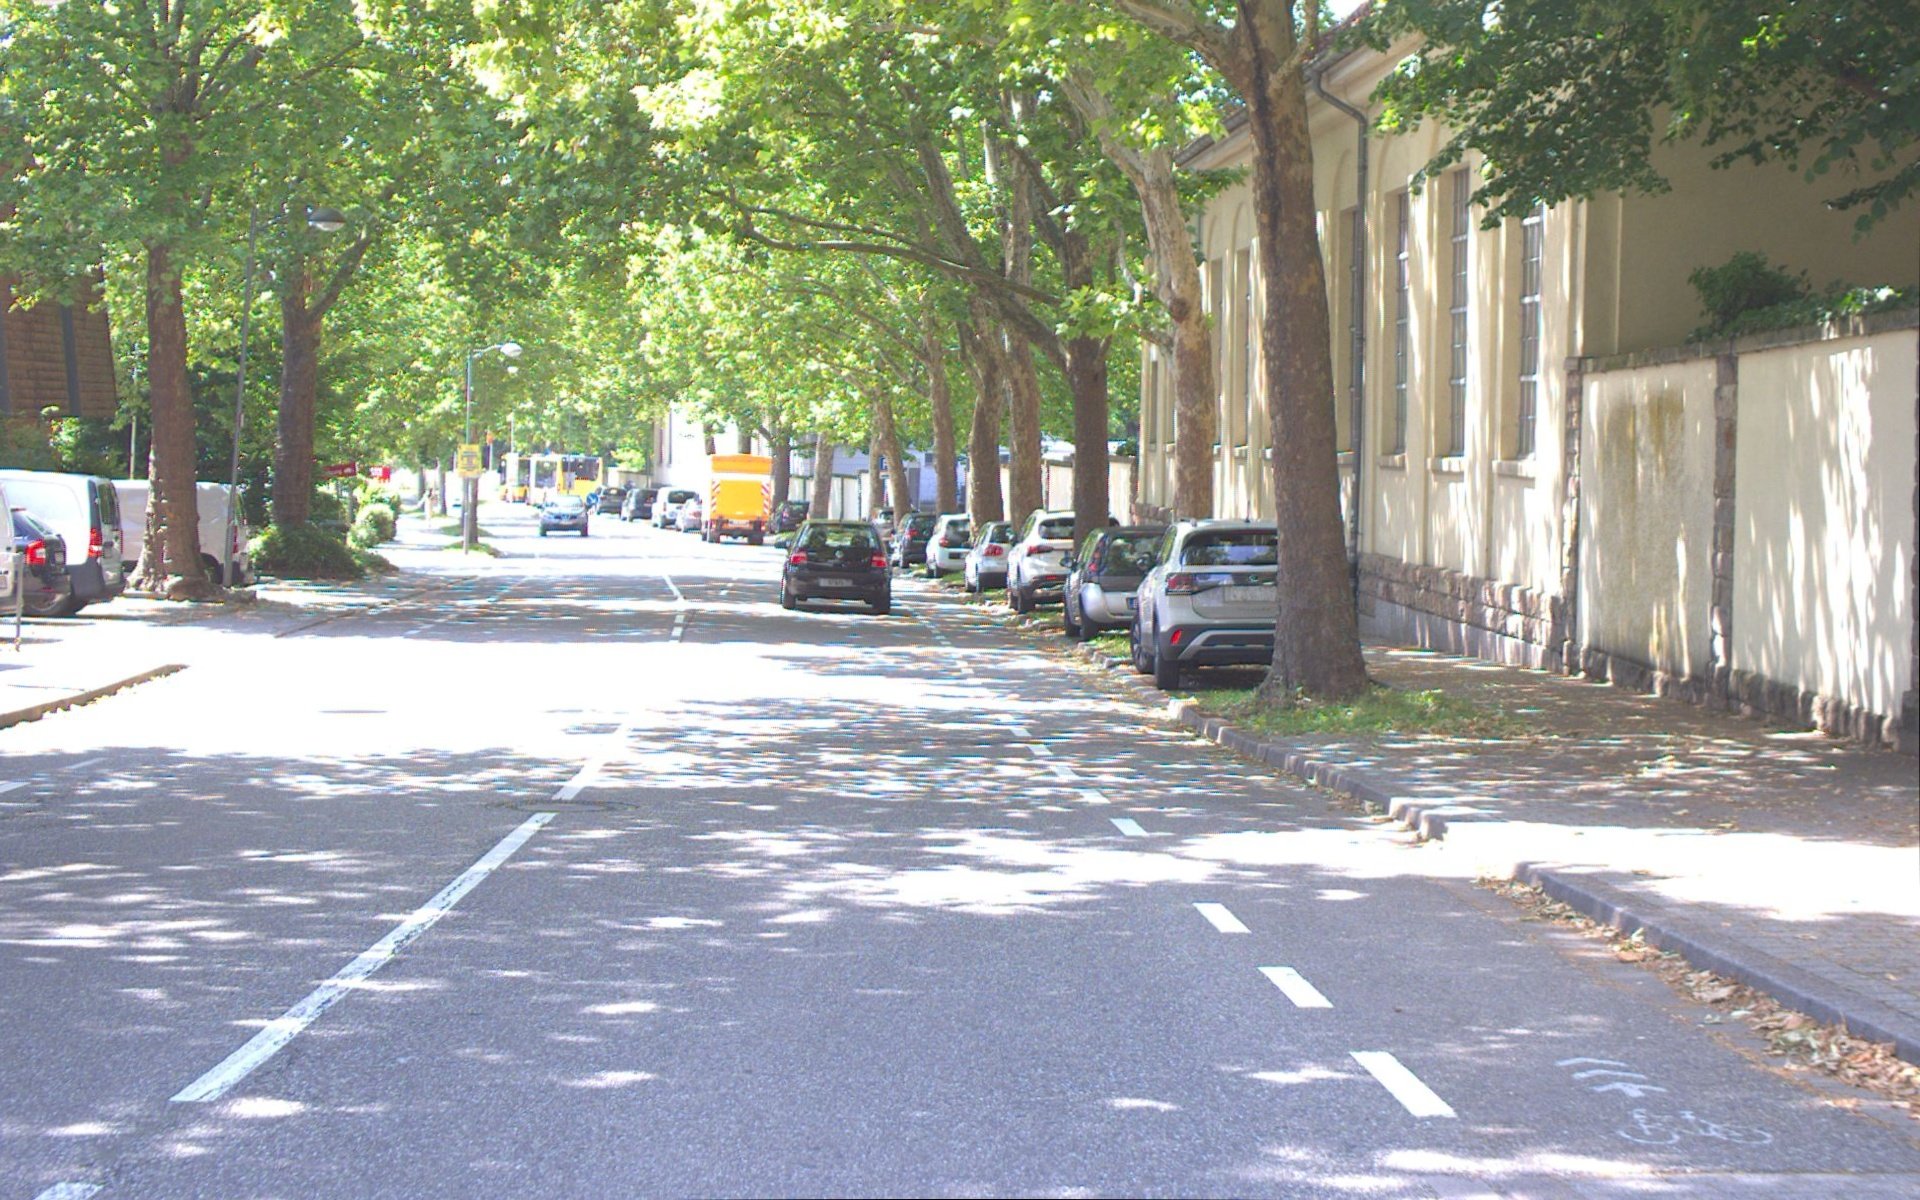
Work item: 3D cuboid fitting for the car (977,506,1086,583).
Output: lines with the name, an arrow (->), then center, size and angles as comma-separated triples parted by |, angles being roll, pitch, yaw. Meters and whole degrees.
car -> 1.364, -1.110, 67.095 | 1.766, 1.428, 3.876 | -1, 2, -4

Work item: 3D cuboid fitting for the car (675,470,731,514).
car -> -10.509, -4.399, 140.285 | 1.879, 1.680, 4.001 | 1, 0, -10

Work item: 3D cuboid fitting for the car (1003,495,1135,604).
car -> 1.744, -0.860, 56.447 | 1.807, 1.683, 4.752 | -1, 2, -3

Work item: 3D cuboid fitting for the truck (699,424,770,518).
truck -> -8.071, -4.561, 122.525 | 2.370, 3.123, 5.770 | 1, 0, -5

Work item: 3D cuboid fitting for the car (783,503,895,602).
car -> -1.971, -0.789, 55.167 | 1.711, 1.442, 4.059 | 0, 3, -3

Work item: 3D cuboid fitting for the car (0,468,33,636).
car -> -12.230, -0.604, 37.083 | 3.986, 1.786, 1.869 | 2, 1, -5

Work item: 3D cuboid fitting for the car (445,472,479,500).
car -> -26.441, -6.020, 182.422 | 1.710, 1.442, 4.059 | 0, 1, -10

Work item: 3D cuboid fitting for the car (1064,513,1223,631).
car -> 2.335, -0.401, 44.731 | 1.621, 1.434, 4.433 | -1, 2, -3

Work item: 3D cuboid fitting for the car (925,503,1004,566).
car -> 0.088, -1.573, 81.550 | 1.577, 1.461, 3.876 | -1, 2, -4

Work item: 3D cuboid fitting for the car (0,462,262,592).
car -> -12.843, -1.122, 52.288 | 4.127, 1.798, 1.904 | 2, 1, -5

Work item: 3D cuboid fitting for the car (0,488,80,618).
car -> -12.881, -0.648, 41.680 | 3.986, 1.510, 1.869 | 2, 1, -5

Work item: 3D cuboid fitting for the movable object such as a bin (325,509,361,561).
movable object such as a bin -> -12.659, -1.335, 70.560 | 0.623, 1.045, 0.620 | 1, 2, 1

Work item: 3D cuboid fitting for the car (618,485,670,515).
car -> -14.792, -4.662, 160.828 | 1.766, 1.369, 3.731 | -1, 2, -15

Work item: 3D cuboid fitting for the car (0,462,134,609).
car -> -13.018, -0.899, 44.106 | 4.422, 1.798, 1.904 | 2, 1, -5

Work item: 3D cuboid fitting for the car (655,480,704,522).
car -> -12.063, -4.249, 147.765 | 1.879, 1.680, 4.001 | 1, 0, -7

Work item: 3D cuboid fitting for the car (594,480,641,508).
car -> -17.098, -5.282, 171.608 | 1.766, 1.369, 3.731 | -1, 2, -15

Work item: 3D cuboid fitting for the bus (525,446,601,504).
bus -> -22.633, -7.053, 195.439 | 2.663, 3.139, 11.201 | 0, 1, -15

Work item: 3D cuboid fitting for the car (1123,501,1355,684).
car -> 2.614, -0.135, 33.154 | 1.741, 1.552, 4.781 | -1, 2, -1

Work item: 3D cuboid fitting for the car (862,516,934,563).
car -> -1.900, -1.841, 103.899 | 1.766, 1.369, 3.731 | -1, 2, -7

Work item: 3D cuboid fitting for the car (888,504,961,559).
car -> -0.990, -1.896, 94.223 | 1.766, 1.461, 3.876 | -1, 2, -4

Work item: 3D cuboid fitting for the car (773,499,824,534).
car -> -6.557, -3.388, 139.182 | 1.766, 1.369, 3.731 | 1, 1, -7

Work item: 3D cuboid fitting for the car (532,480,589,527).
car -> -15.201, -3.656, 130.748 | 1.993, 1.660, 4.001 | 1, 0, -9
